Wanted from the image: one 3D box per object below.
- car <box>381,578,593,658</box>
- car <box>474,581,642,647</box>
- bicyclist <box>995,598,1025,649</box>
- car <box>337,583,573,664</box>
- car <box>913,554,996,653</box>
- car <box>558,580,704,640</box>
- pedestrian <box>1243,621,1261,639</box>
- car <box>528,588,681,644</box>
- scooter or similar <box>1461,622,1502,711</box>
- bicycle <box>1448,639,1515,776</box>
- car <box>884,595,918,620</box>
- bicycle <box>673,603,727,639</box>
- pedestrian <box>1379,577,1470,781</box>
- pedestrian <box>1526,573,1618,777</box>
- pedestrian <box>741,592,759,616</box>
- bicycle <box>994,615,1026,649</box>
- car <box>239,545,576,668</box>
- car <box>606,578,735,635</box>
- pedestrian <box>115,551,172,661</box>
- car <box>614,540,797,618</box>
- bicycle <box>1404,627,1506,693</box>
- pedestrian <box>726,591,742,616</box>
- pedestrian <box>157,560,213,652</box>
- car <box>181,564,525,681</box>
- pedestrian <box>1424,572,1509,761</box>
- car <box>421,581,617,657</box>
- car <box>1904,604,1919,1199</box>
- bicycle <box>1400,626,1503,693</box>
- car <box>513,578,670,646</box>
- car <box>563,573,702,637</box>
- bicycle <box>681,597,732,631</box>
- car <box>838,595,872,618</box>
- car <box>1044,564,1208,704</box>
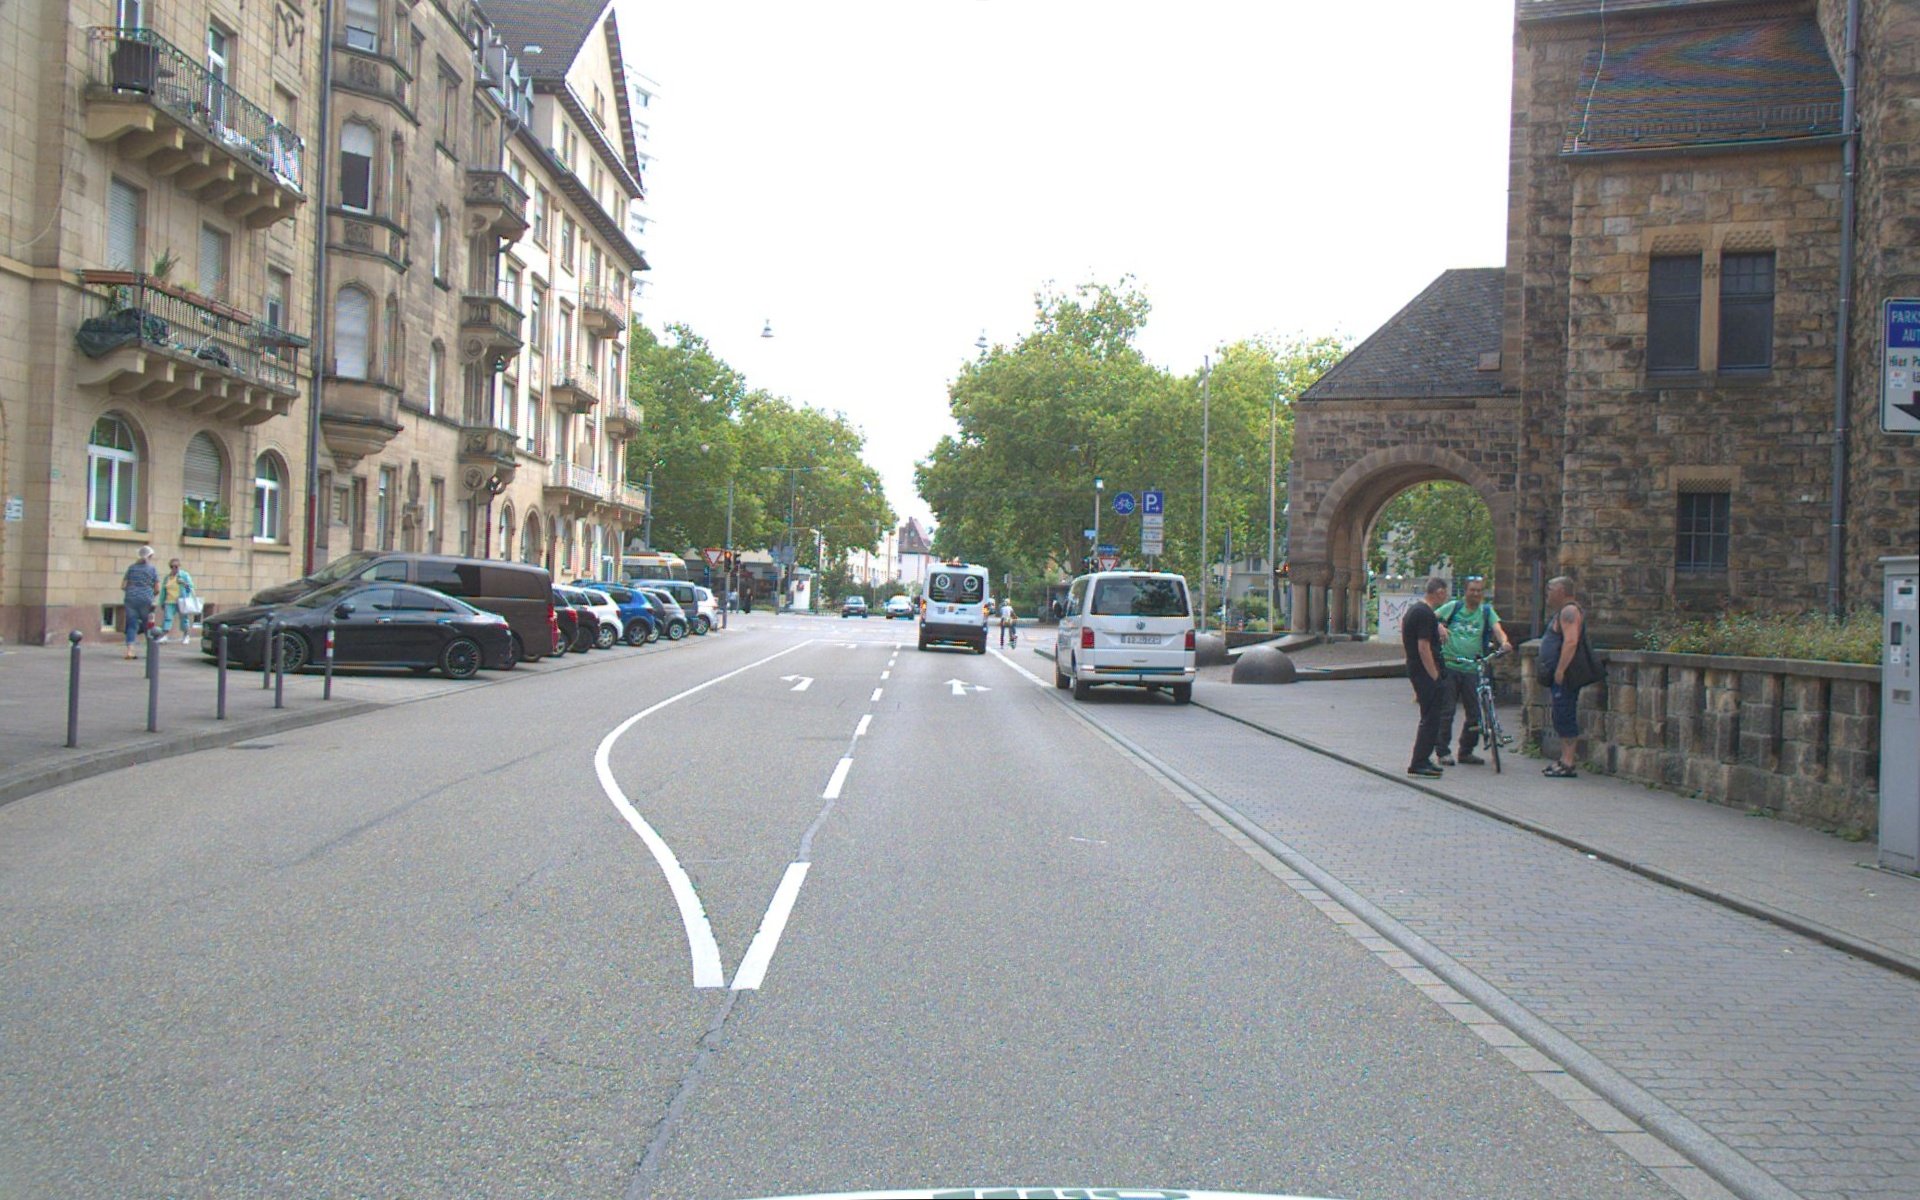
[{"bbox_3d":[-9.887,0.389,34.683,3.953,1.529,1.610,2,-1,-37],"label":"car"},{"bbox_3d":[-9.905,0.353,40.885,3.647,1.507,1.719,2,-1,-38],"label":"car"},{"bbox_3d":[1.711,0.807,56.425,0.886,1.713,0.756,2,-1,-4],"label":"bicyclist"},{"bbox_3d":[-9.709,0.466,31.935,3.979,1.434,1.769,2,-1,-43],"label":"car"},{"bbox_3d":[-0.230,0.087,49.190,2.138,2.693,4.626,3,0,-3],"label":"car"},{"bbox_3d":[-9.944,0.312,50.183,3.975,1.680,1.771,2,-1,-41],"label":"car"},{"bbox_3d":[20.207,2.066,114.575,1.068,1.258,1.441,0,-1,3],"label":"pedestrian"},{"bbox_3d":[-10.139,0.470,47.296,3.862,1.469,1.813,2,-1,-37],"label":"car"},{"bbox_3d":[7.558,0.940,23.939,0.533,1.228,1.481,1,0,18],"label":"scooter or similar"},{"bbox_3d":[4.888,0.966,15.449,0.521,1.170,1.753,2,0,19],"label":"bicycle"},{"bbox_3d":[-3.982,0.532,112.621,1.696,1.620,4.003,2,0,6],"label":"car"},{"bbox_3d":[-9.521,0.757,60.615,1.772,1.139,0.594,5,-1,3],"label":"bicycle"},{"bbox_3d":[4.060,0.680,14.468,0.501,1.750,0.528,2,-1,-24],"label":"pedestrian"},{"bbox_3d":[5.390,0.652,14.577,0.500,1.750,0.528,2,-1,-23],"label":"pedestrian"},{"bbox_3d":[-13.478,0.269,106.394,0.910,1.541,0.724,2,-1,13],"label":"pedestrian"},{"bbox_3d":[1.701,1.076,56.326,0.885,1.094,1.968,2,0,-4],"label":"bicycle"},{"bbox_3d":[-9.628,0.155,29.025,5.211,1.943,2.095,2,-1,-36],"label":"car"},{"bbox_3d":[-9.841,0.238,56.314,3.975,1.804,1.771,2,-1,-41],"label":"car"},{"bbox_3d":[-11.896,0.088,24.115,0.640,1.572,0.506,2,-1,-20],"label":"pedestrian"},{"bbox_3d":[-14.221,-1.190,92.307,9.686,3.984,3.453,2,-1,24],"label":"car"},{"bbox_3d":[9.035,1.085,30.208,1.739,1.131,0.546,1,0,18],"label":"bicycle"},{"bbox_3d":[-14.564,0.239,106.576,0.790,1.600,0.724,2,-1,13],"label":"pedestrian"},{"bbox_3d":[-13.068,0.107,27.896,0.647,1.511,0.509,2,-1,-2],"label":"pedestrian"},{"bbox_3d":[-9.396,0.376,25.825,4.628,1.433,1.873,5,-1,-41],"label":"car"},{"bbox_3d":[4.782,0.618,15.625,0.523,1.750,0.505,2,-1,-24],"label":"pedestrian"},{"bbox_3d":[-10.092,0.448,37.922,3.963,1.592,1.776,2,-1,-34],"label":"car"},{"bbox_3d":[3.155,0.781,1.683,1.720,1.494,4.416,1,0,-2],"label":"car"},{"bbox_3d":[8.804,1.047,29.633,1.732,1.131,0.546,1,0,18],"label":"bicycle"},{"bbox_3d":[-9.863,0.332,44.349,3.739,1.680,1.701,2,-1,-38],"label":"car"},{"bbox_3d":[-10.406,0.168,52.681,3.975,1.911,1.771,2,-1,-41],"label":"car"},{"bbox_3d":[-9.777,0.542,63.779,1.837,1.187,0.498,4,-1,20],"label":"bicycle"},{"bbox_3d":[-7.176,0.457,113.535,1.586,1.502,4.003,2,0,6],"label":"car"},{"bbox_3d":[2.609,0.488,27.249,1.974,2.065,5.121,1,0,-3],"label":"car"}]
